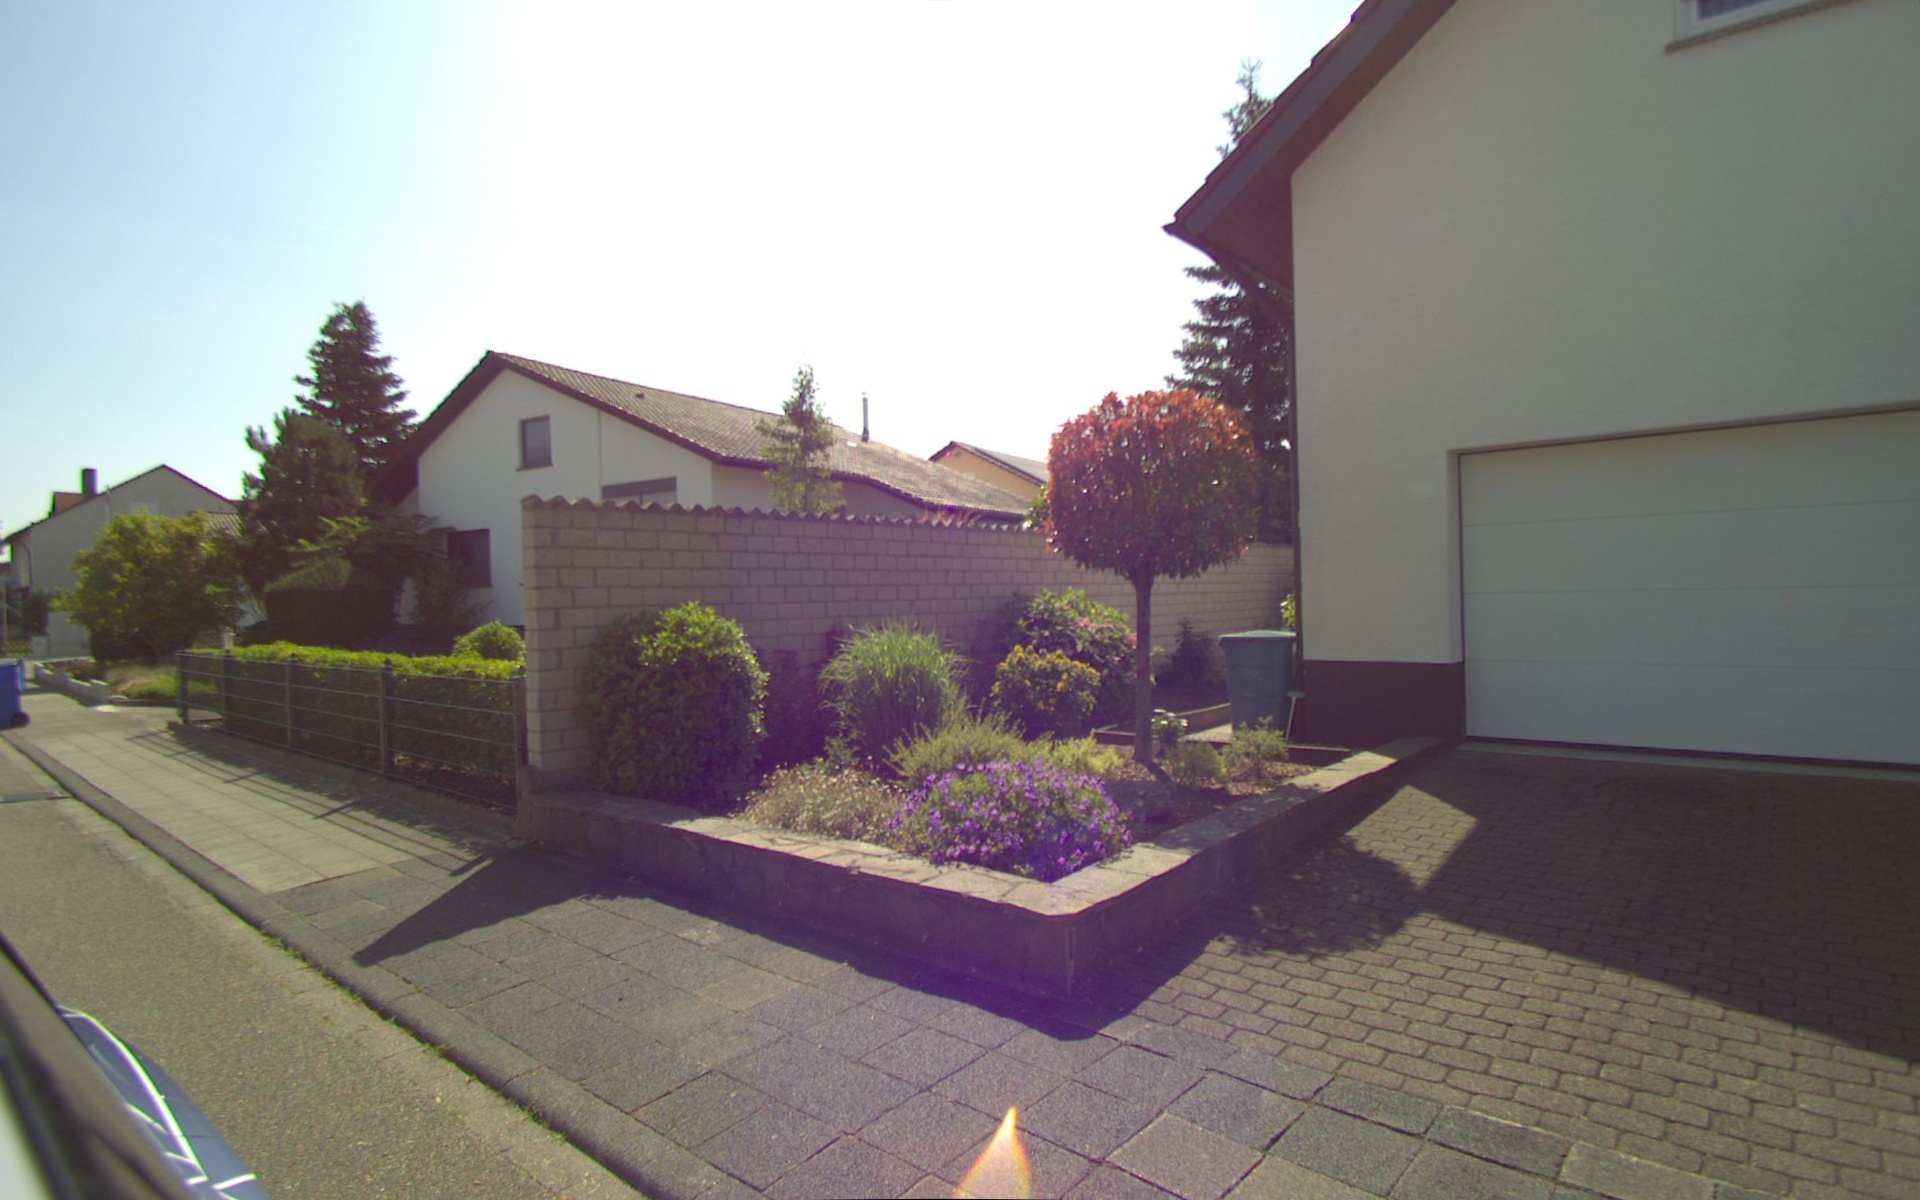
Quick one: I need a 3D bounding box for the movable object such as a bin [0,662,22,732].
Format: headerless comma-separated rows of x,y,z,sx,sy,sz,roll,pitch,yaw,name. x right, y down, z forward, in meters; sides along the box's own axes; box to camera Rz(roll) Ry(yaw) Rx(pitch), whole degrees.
-13.295,1.338,13.867,0.598,0.923,0.577,-2,0,41,movable object such as a bin
